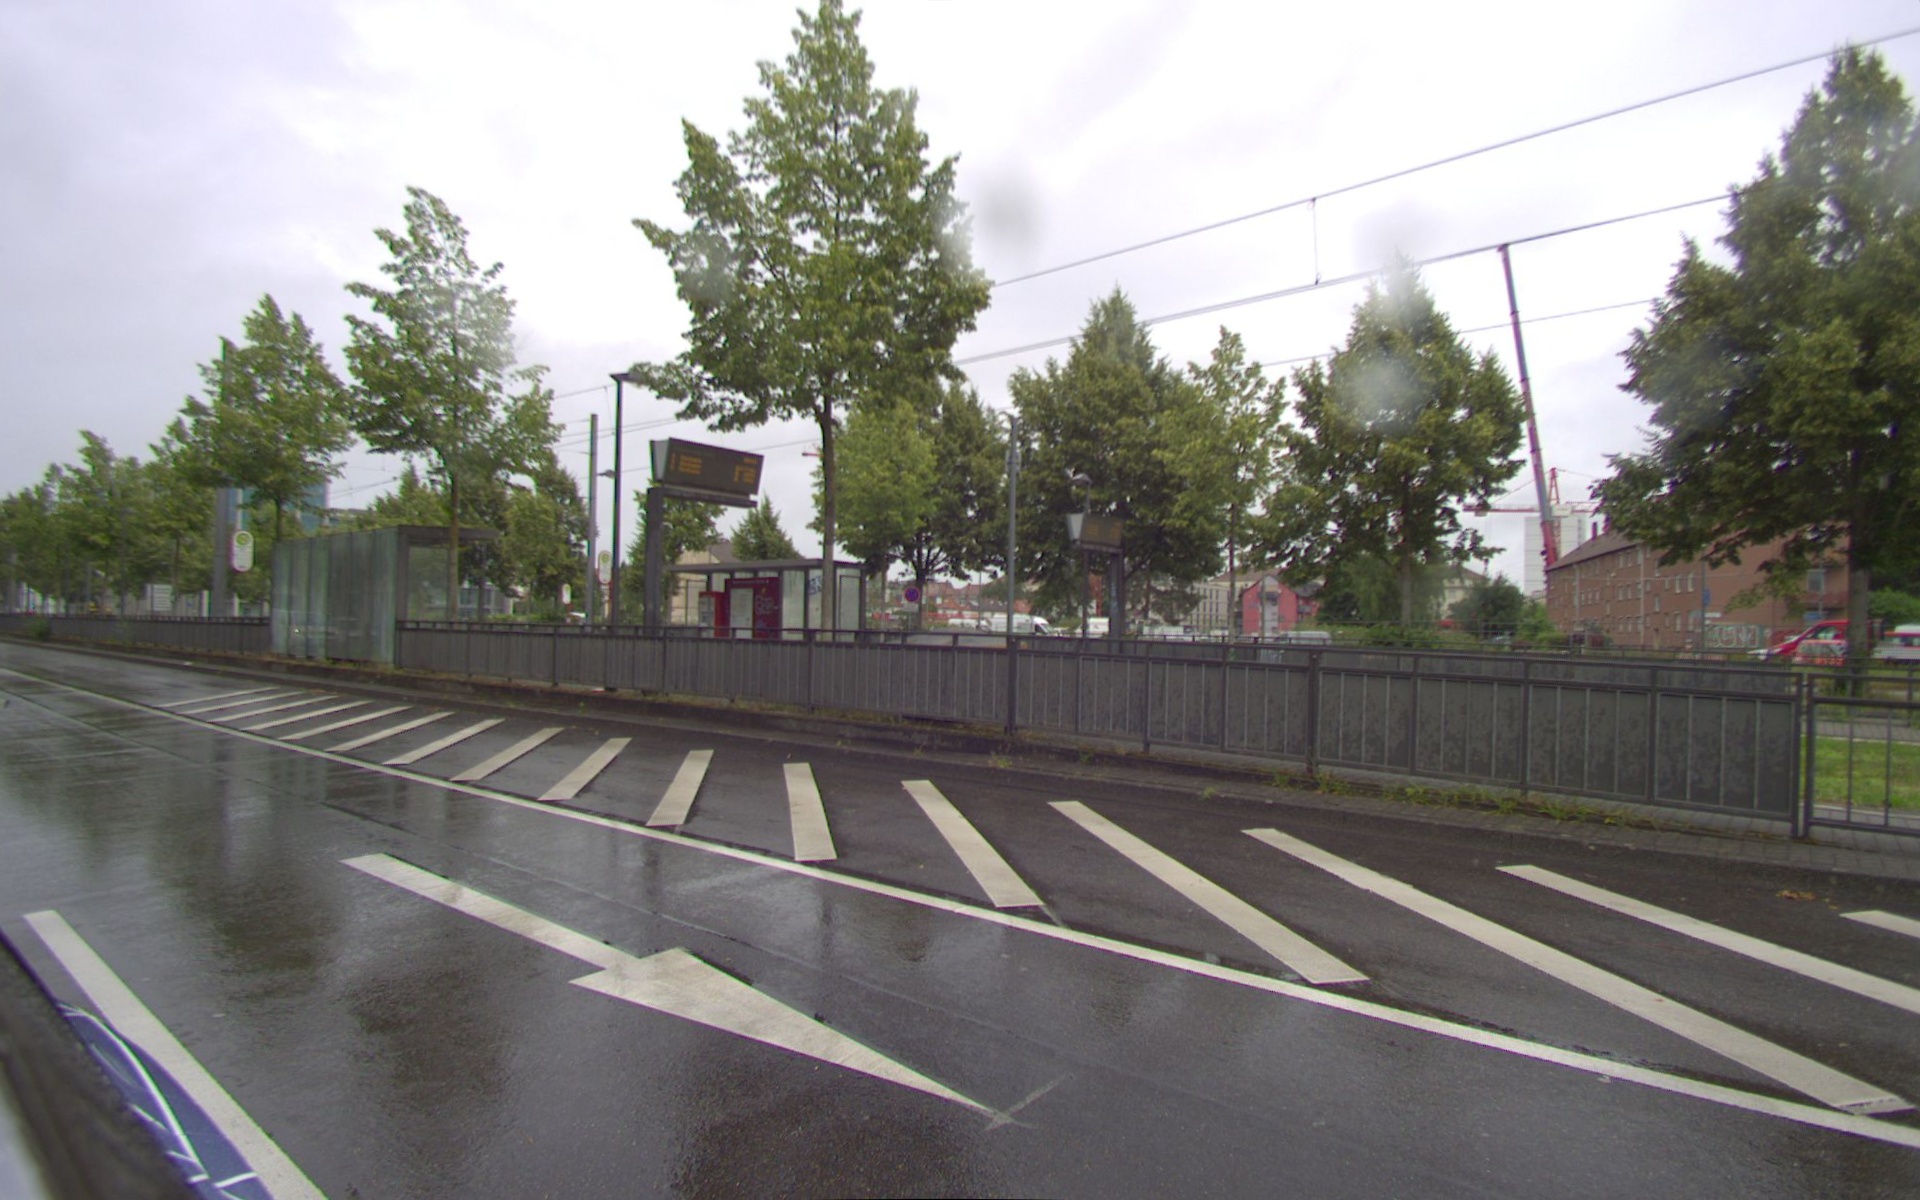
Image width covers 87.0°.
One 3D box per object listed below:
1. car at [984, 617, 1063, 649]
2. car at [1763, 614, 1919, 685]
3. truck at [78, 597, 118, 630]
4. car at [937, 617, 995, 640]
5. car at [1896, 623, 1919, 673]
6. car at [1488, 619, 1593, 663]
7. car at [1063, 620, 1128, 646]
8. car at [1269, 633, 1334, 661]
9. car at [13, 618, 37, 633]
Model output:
[{"bbox_3d":[5.363,2.766,85.841,6.735,2.480,1.975,0,0,37],"label":"car"},{"bbox_3d":[33.448,1.763,36.759,1.597,2.489,6.500,2,-2,-39],"label":"car"},{"bbox_3d":[-104.297,1.556,122.383,9.184,3.806,2.657,0,0,43],"label":"truck"},{"bbox_3d":[0.603,2.972,108.322,6.123,2.323,1.978,0,0,32],"label":"car"},{"bbox_3d":[45.924,2.164,44.989,1.597,2.296,6.114,2,-3,-37],"label":"car"},{"bbox_3d":[35.811,2.491,62.528,5.482,2.471,1.976,0,0,36],"label":"car"},{"bbox_3d":[11.840,2.874,88.751,5.412,2.067,1.976,0,0,37],"label":"car"},{"bbox_3d":[26.277,3.595,77.908,4.415,1.891,1.855,0,0,34],"label":"car"},{"bbox_3d":[-129.346,3.497,140.005,3.994,2.029,1.740,-1,-2,37],"label":"car"}]
